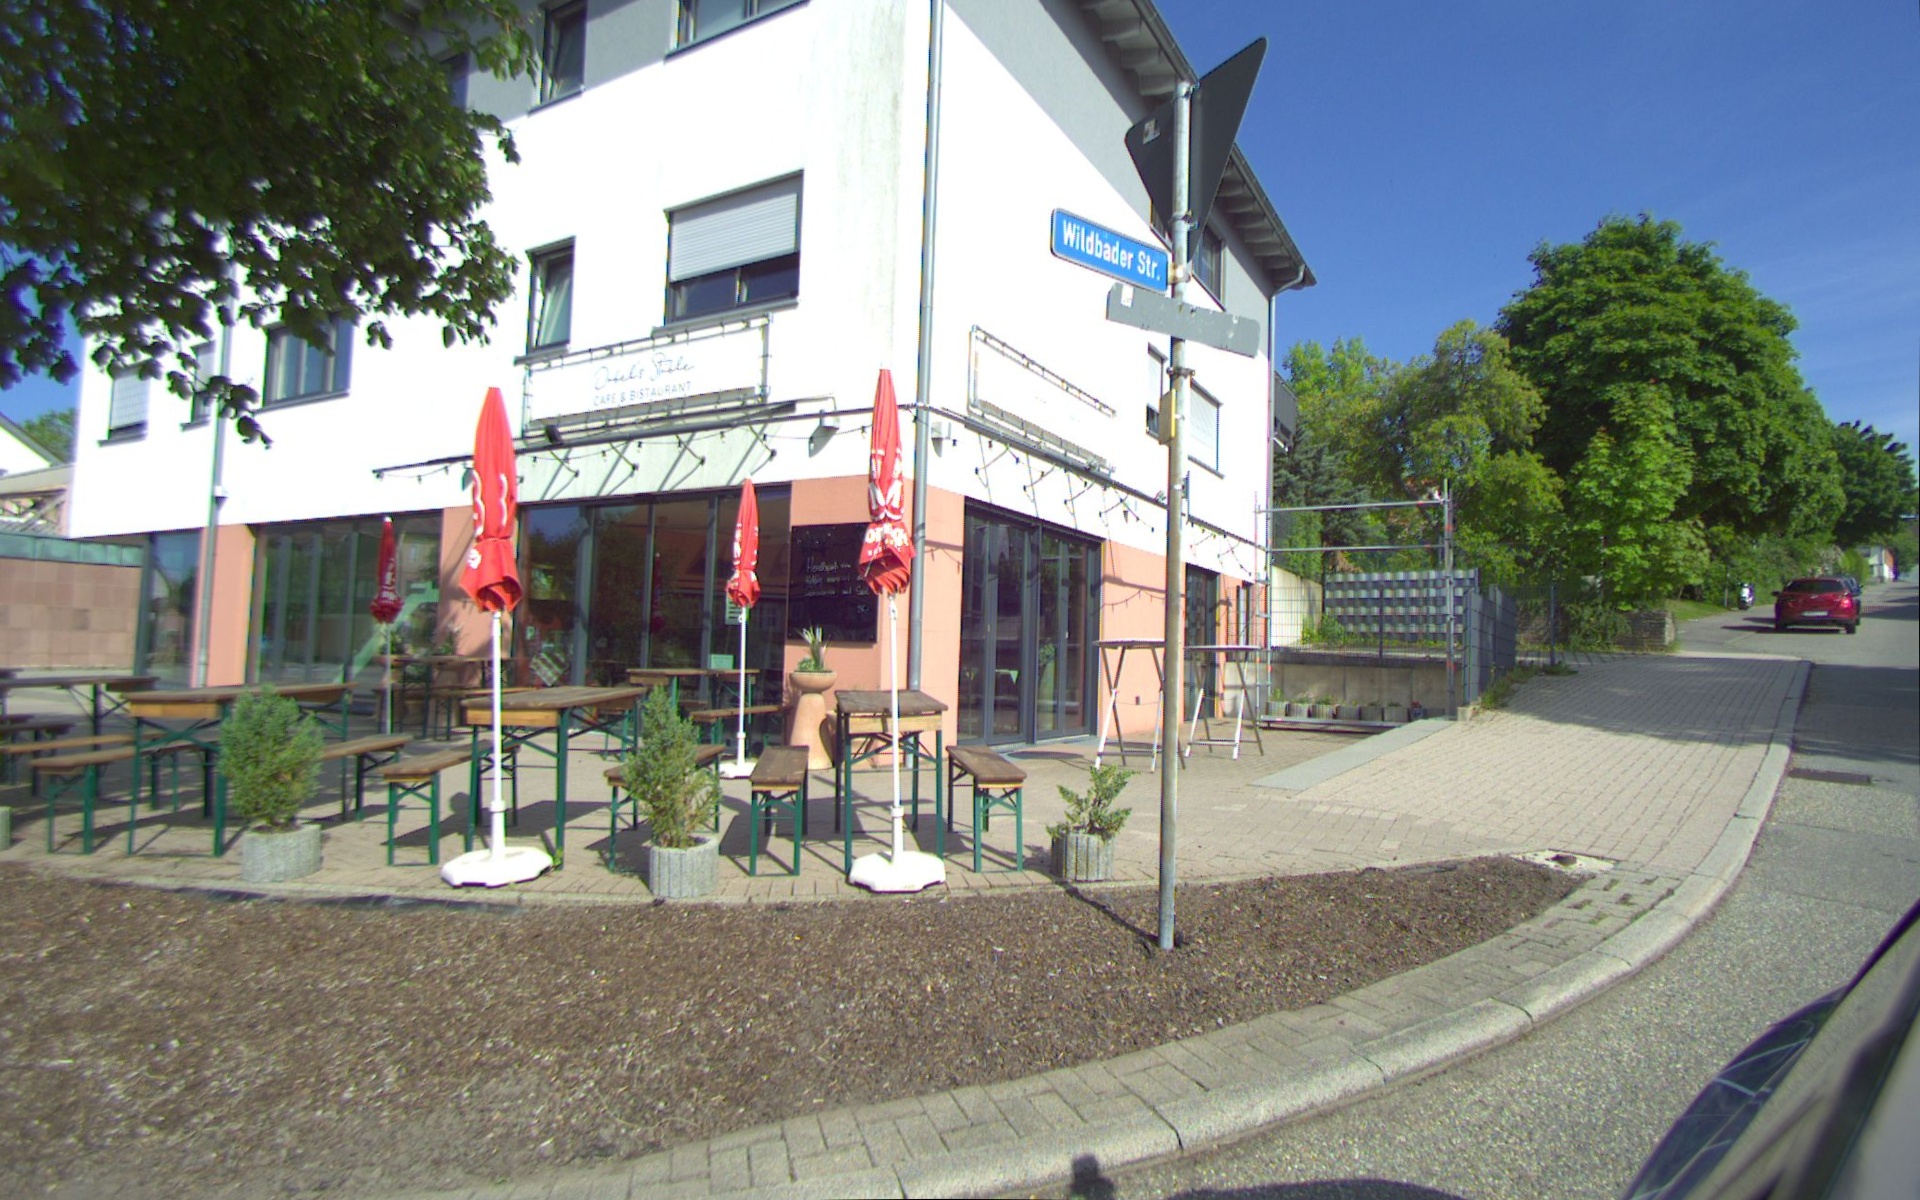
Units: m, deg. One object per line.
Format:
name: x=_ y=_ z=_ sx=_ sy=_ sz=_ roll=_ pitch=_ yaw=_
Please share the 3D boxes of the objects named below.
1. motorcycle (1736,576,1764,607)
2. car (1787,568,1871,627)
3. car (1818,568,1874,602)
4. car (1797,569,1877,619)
motorcycle: x=31.816 y=-0.345 z=40.761 sx=0.782 sy=1.196 sz=2.156 roll=0 pitch=1 yaw=41
car: x=23.954 y=-0.096 z=27.855 sx=1.619 sy=1.517 sz=3.752 roll=0 pitch=1 yaw=43
car: x=39.860 y=-0.681 z=45.497 sx=1.770 sy=1.489 sz=3.752 roll=0 pitch=1 yaw=43
car: x=27.676 y=-0.207 z=31.913 sx=1.770 sy=1.489 sz=3.752 roll=0 pitch=1 yaw=43
